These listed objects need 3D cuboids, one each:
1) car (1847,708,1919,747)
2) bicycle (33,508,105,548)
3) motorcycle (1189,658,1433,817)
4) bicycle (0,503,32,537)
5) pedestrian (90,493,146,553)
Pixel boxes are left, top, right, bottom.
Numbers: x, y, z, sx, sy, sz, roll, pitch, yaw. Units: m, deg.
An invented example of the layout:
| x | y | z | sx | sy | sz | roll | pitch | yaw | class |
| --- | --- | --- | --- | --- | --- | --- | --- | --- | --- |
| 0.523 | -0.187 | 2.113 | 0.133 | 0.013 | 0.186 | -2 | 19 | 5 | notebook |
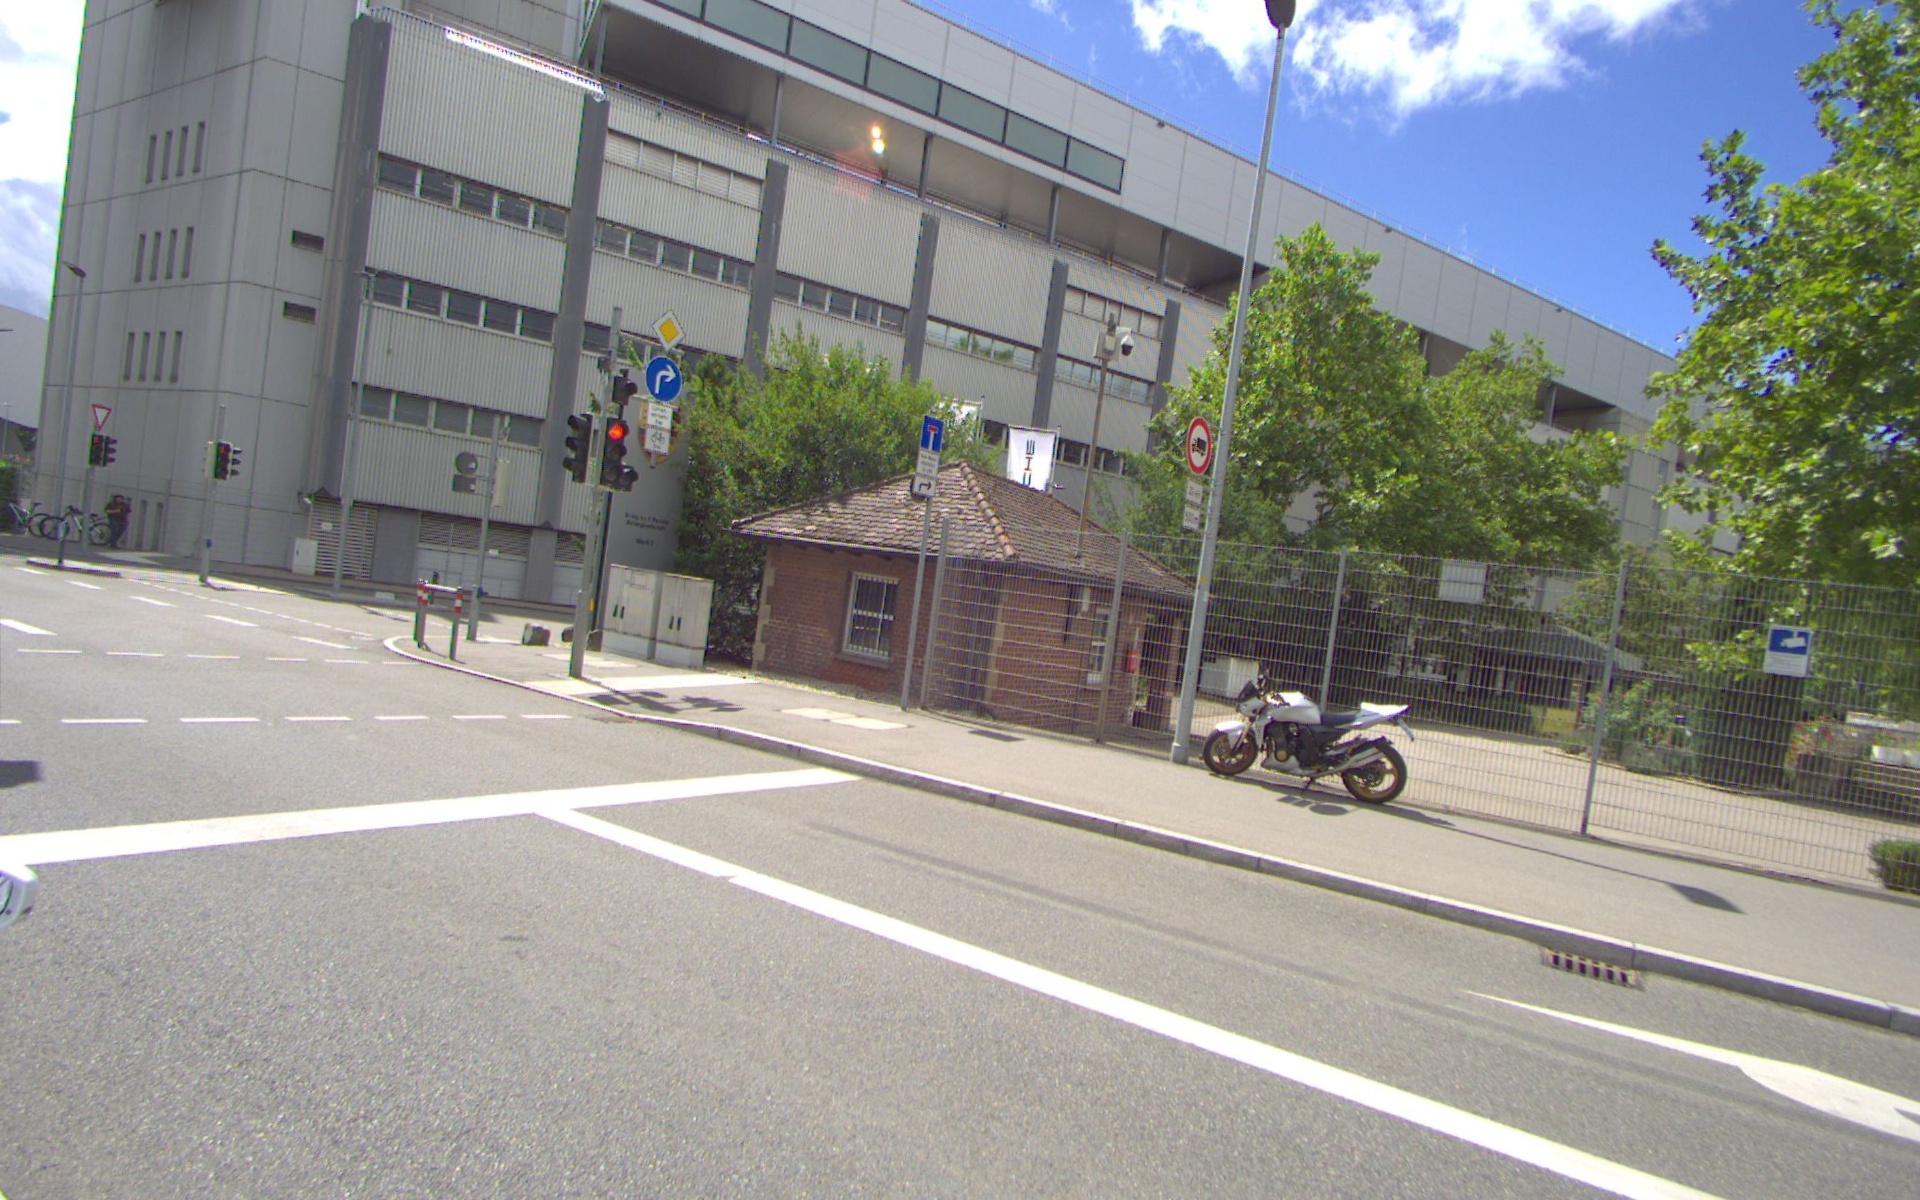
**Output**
| x | y | z | sx | sy | sz | roll | pitch | yaw | class |
| --- | --- | --- | --- | --- | --- | --- | --- | --- | --- |
| 53.059 | 7.272 | 56.782 | 1.979 | 1.803 | 3.971 | 8 | -2 | -30 | car |
| -27.247 | -2.200 | 30.754 | 1.892 | 0.948 | 0.399 | 7 | 0 | 6 | bicycle |
| 3.460 | 1.306 | 9.984 | 2.110 | 1.173 | 0.693 | 7 | 2 | 27 | motorcycle |
| -29.672 | -2.533 | 31.069 | 1.891 | 0.948 | 0.399 | 7 | 0 | 13 | bicycle |
| -25.654 | -2.330 | 30.665 | 0.837 | 1.644 | 0.953 | 7 | 0 | -17 | pedestrian |
